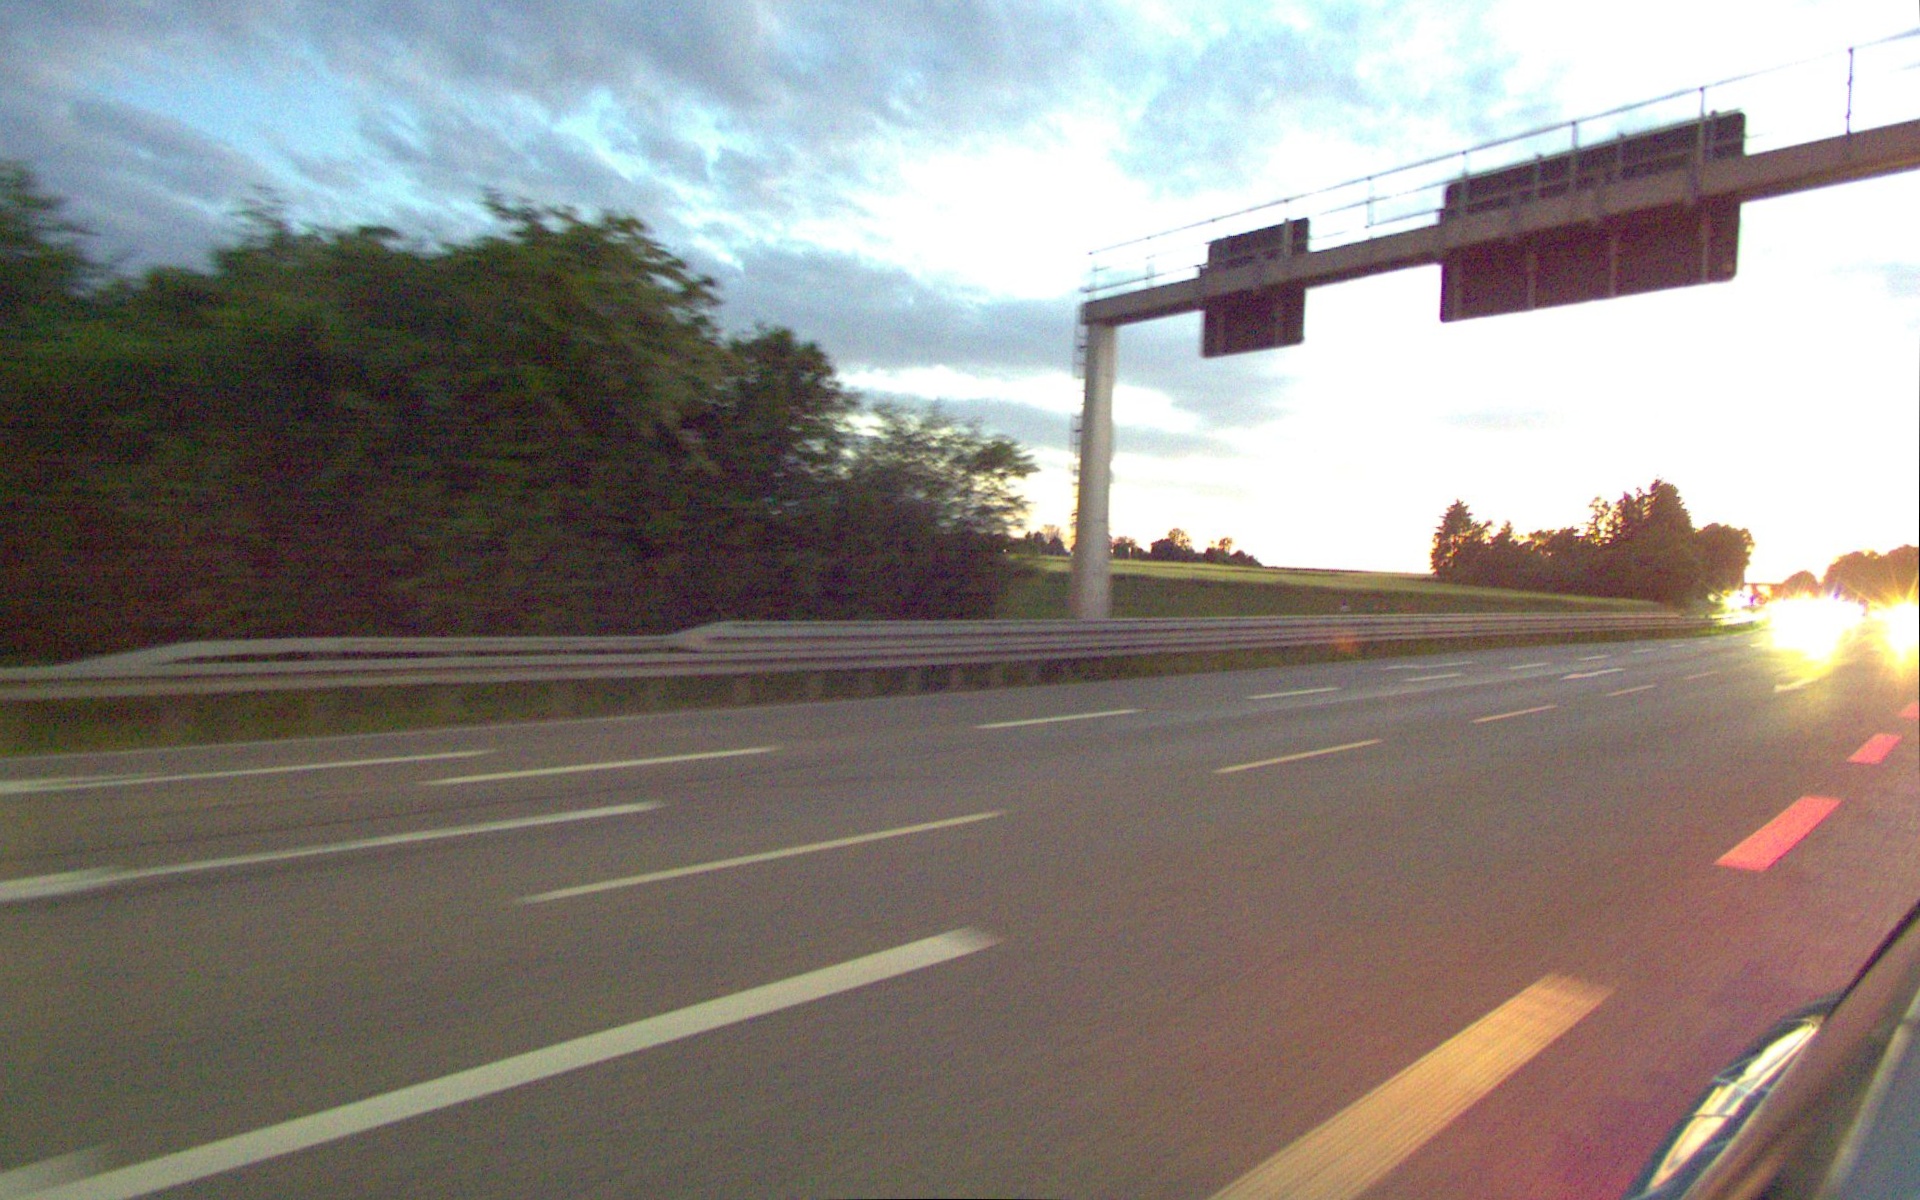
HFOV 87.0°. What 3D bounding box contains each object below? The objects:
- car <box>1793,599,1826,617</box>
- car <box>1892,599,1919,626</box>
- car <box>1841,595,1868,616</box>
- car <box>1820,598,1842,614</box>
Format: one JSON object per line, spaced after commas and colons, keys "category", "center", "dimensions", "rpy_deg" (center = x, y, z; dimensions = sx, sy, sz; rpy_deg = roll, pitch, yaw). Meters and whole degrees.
{"category": "car", "center": [76.720, 0.683, 91.349], "dimensions": [1.994, 1.604, 3.936], "rpy_deg": [0, 0, 44]}
{"category": "car", "center": [53.548, 0.697, 56.678], "dimensions": [1.749, 1.474, 3.748], "rpy_deg": [-1, -1, 40]}
{"category": "car", "center": [90.075, 0.542, 101.916], "dimensions": [1.857, 2.039, 3.936], "rpy_deg": [0, 0, 44]}
{"category": "car", "center": [98.247, 0.640, 114.176], "dimensions": [1.825, 1.772, 3.795], "rpy_deg": [-1, -1, 39]}
